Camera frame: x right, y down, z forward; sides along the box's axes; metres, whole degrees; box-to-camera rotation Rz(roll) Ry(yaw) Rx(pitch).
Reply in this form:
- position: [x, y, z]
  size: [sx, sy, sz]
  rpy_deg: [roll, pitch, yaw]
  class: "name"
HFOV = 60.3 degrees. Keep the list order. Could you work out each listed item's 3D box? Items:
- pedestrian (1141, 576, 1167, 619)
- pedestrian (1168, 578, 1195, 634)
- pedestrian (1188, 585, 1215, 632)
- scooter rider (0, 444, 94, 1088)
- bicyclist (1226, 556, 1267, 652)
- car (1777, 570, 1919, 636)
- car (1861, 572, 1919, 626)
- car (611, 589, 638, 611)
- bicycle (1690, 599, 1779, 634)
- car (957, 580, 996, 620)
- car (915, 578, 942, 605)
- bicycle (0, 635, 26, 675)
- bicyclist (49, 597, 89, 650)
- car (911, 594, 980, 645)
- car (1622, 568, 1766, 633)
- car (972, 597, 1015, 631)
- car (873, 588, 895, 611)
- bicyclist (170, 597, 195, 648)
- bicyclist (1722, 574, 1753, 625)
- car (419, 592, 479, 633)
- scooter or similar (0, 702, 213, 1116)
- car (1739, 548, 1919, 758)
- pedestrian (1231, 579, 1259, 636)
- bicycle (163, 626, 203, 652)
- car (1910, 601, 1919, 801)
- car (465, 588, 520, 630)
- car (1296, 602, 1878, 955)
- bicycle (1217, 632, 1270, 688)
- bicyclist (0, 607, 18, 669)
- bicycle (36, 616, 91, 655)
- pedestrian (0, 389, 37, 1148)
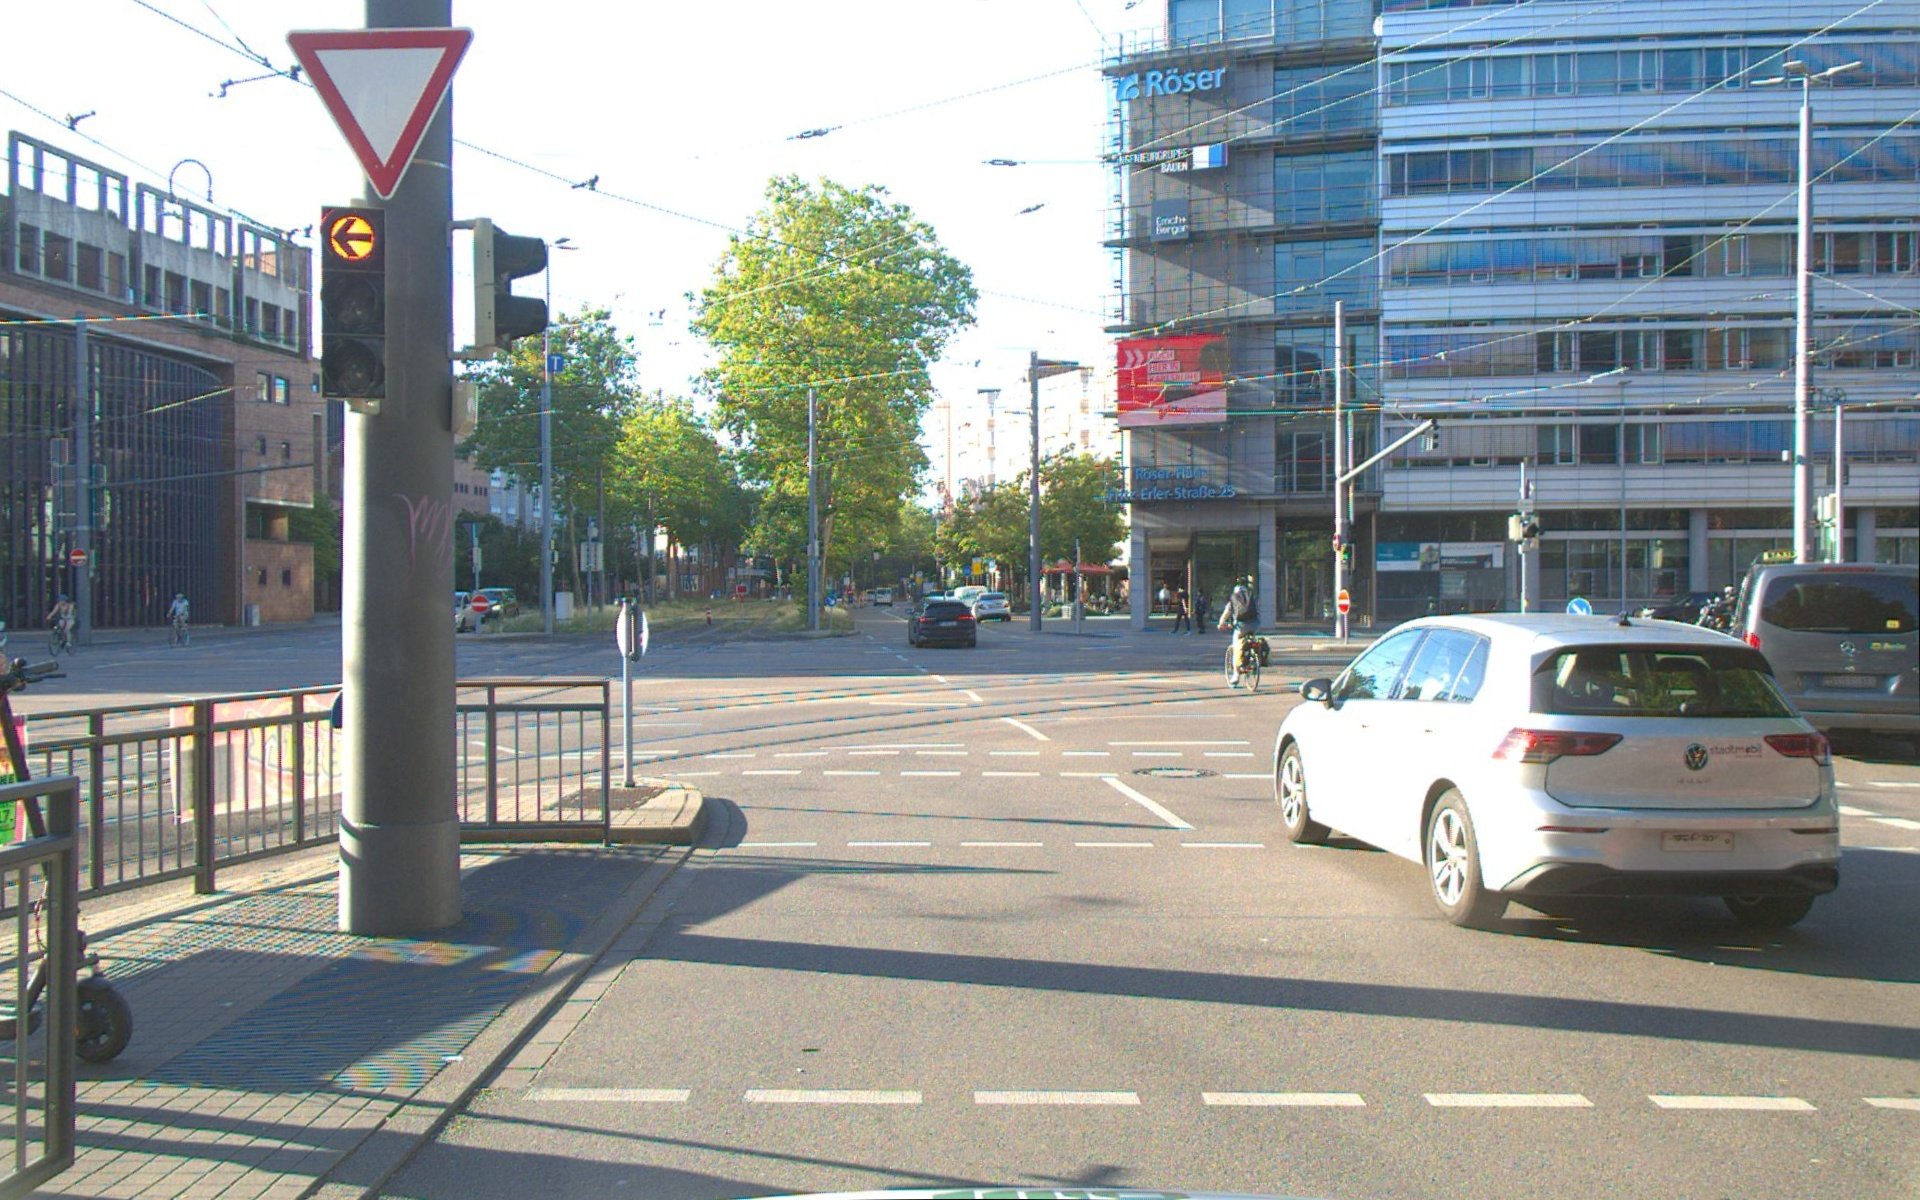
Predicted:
- position: [10.123, -0.135, 86.361]
  size: [1.285, 2.228, 1.171]
  rpy_deg: [1, -1, 5]
  class: "pedestrian"
- position: [8.169, 0.233, 61.023]
  size: [0.832, 2.049, 0.707]
  rpy_deg: [1, -1, -2]
  class: "pedestrian"
- position: [8.941, 0.308, 61.289]
  size: [0.852, 1.737, 0.793]
  rpy_deg: [1, -1, -1]
  class: "pedestrian"
- position: [-3.087, 0.490, 4.994]
  size: [0.554, 1.885, 0.680]
  rpy_deg: [-1, -2, 4]
  class: "scooter rider"
- position: [4.503, 0.057, 26.042]
  size: [0.477, 1.464, 0.615]
  rpy_deg: [2, 0, -1]
  class: "bicyclist"
- position: [25.032, 0.066, 45.510]
  size: [4.165, 1.753, 1.885]
  rpy_deg: [-1, 0, 2]
  class: "car"
- position: [29.441, -0.006, 49.553]
  size: [3.903, 1.579, 1.798]
  rpy_deg: [1, 0, 4]
  class: "car"
- position: [-25.627, 0.000, 126.560]
  size: [1.644, 1.635, 3.994]
  rpy_deg: [1, 0, -7]
  class: "car"
- position: [23.345, 0.497, 49.891]
  size: [2.359, 1.040, 0.637]
  rpy_deg: [-1, 0, 4]
  class: "bicycle"
- position: [0.872, 0.006, 89.695]
  size: [1.953, 2.049, 3.999]
  rpy_deg: [1, 0, -1]
  class: "car"
- position: [-2.407, -0.645, 126.883]
  size: [1.953, 2.049, 3.999]
  rpy_deg: [1, 0, -1]
  class: "car"
- position: [-25.190, 1.442, 43.221]
  size: [0.680, 1.016, 1.898]
  rpy_deg: [-1, 0, -8]
  class: "bicycle"
- position: [-25.564, 0.663, 47.478]
  size: [0.640, 1.500, 1.031]
  rpy_deg: [0, 0, -6]
  class: "bicyclist"
- position: [-0.476, 0.534, 48.601]
  size: [1.729, 1.429, 4.292]
  rpy_deg: [0, 0, -5]
  class: "car"
- position: [24.349, 0.023, 54.957]
  size: [3.906, 2.049, 2.000]
  rpy_deg: [1, 0, -1]
  class: "car"
- position: [1.633, 0.671, 82.777]
  size: [1.988, 1.624, 3.999]
  rpy_deg: [1, 0, -1]
  class: "car"
- position: [-7.807, -0.021, 170.186]
  size: [1.952, 2.049, 3.999]
  rpy_deg: [1, -4, 0]
  class: "car"
- position: [-25.848, 0.741, 55.002]
  size: [0.575, 1.654, 0.514]
  rpy_deg: [-1, 0, -6]
  class: "bicyclist"
- position: [23.435, -0.018, 49.882]
  size: [0.649, 1.529, 0.613]
  rpy_deg: [-1, 0, 4]
  class: "bicyclist"
- position: [-20.640, 0.486, 66.965]
  size: [1.591, 1.604, 3.994]
  rpy_deg: [-1, 0, -7]
  class: "car"
- position: [-2.968, 0.881, 4.921]
  size: [1.177, 1.100, 0.648]
  rpy_deg: [-1, 0, 3]
  class: "scooter or similar"
- position: [9.479, 0.471, 17.610]
  size: [1.962, 1.929, 4.876]
  rpy_deg: [1, 1, 27]
  class: "car"
- position: [10.345, 0.258, 60.127]
  size: [0.852, 2.049, 0.793]
  rpy_deg: [1, -1, -1]
  class: "pedestrian"
- position: [-25.846, 1.295, 55.042]
  size: [0.578, 0.784, 1.966]
  rpy_deg: [-1, 0, -5]
  class: "bicycle"
- position: [7.936, 0.768, 10.296]
  size: [1.711, 1.485, 4.213]
  rpy_deg: [1, 0, 2]
  class: "car"
- position: [-21.040, 0.380, 74.553]
  size: [1.787, 1.821, 3.994]
  rpy_deg: [-1, 0, -7]
  class: "car"
- position: [3.063, 0.757, 9.011]
  size: [1.712, 1.443, 4.001]
  rpy_deg: [1, 0, 1]
  class: "car"
- position: [4.492, 0.945, 26.300]
  size: [0.481, 0.802, 1.861]
  rpy_deg: [1, 0, -1]
  class: "bicycle"
- position: [-25.217, 0.990, 43.377]
  size: [0.648, 1.597, 0.757]
  rpy_deg: [-1, 0, -8]
  class: "bicyclist"
- position: [-25.548, 0.995, 47.176]
  size: [0.639, 1.068, 2.010]
  rpy_deg: [0, 0, -6]
  class: "bicycle"
- position: [-3.021, 0.432, 3.923]
  size: [1.143, 1.917, 0.854]
  rpy_deg: [-1, 0, 4]
  class: "pedestrian"
